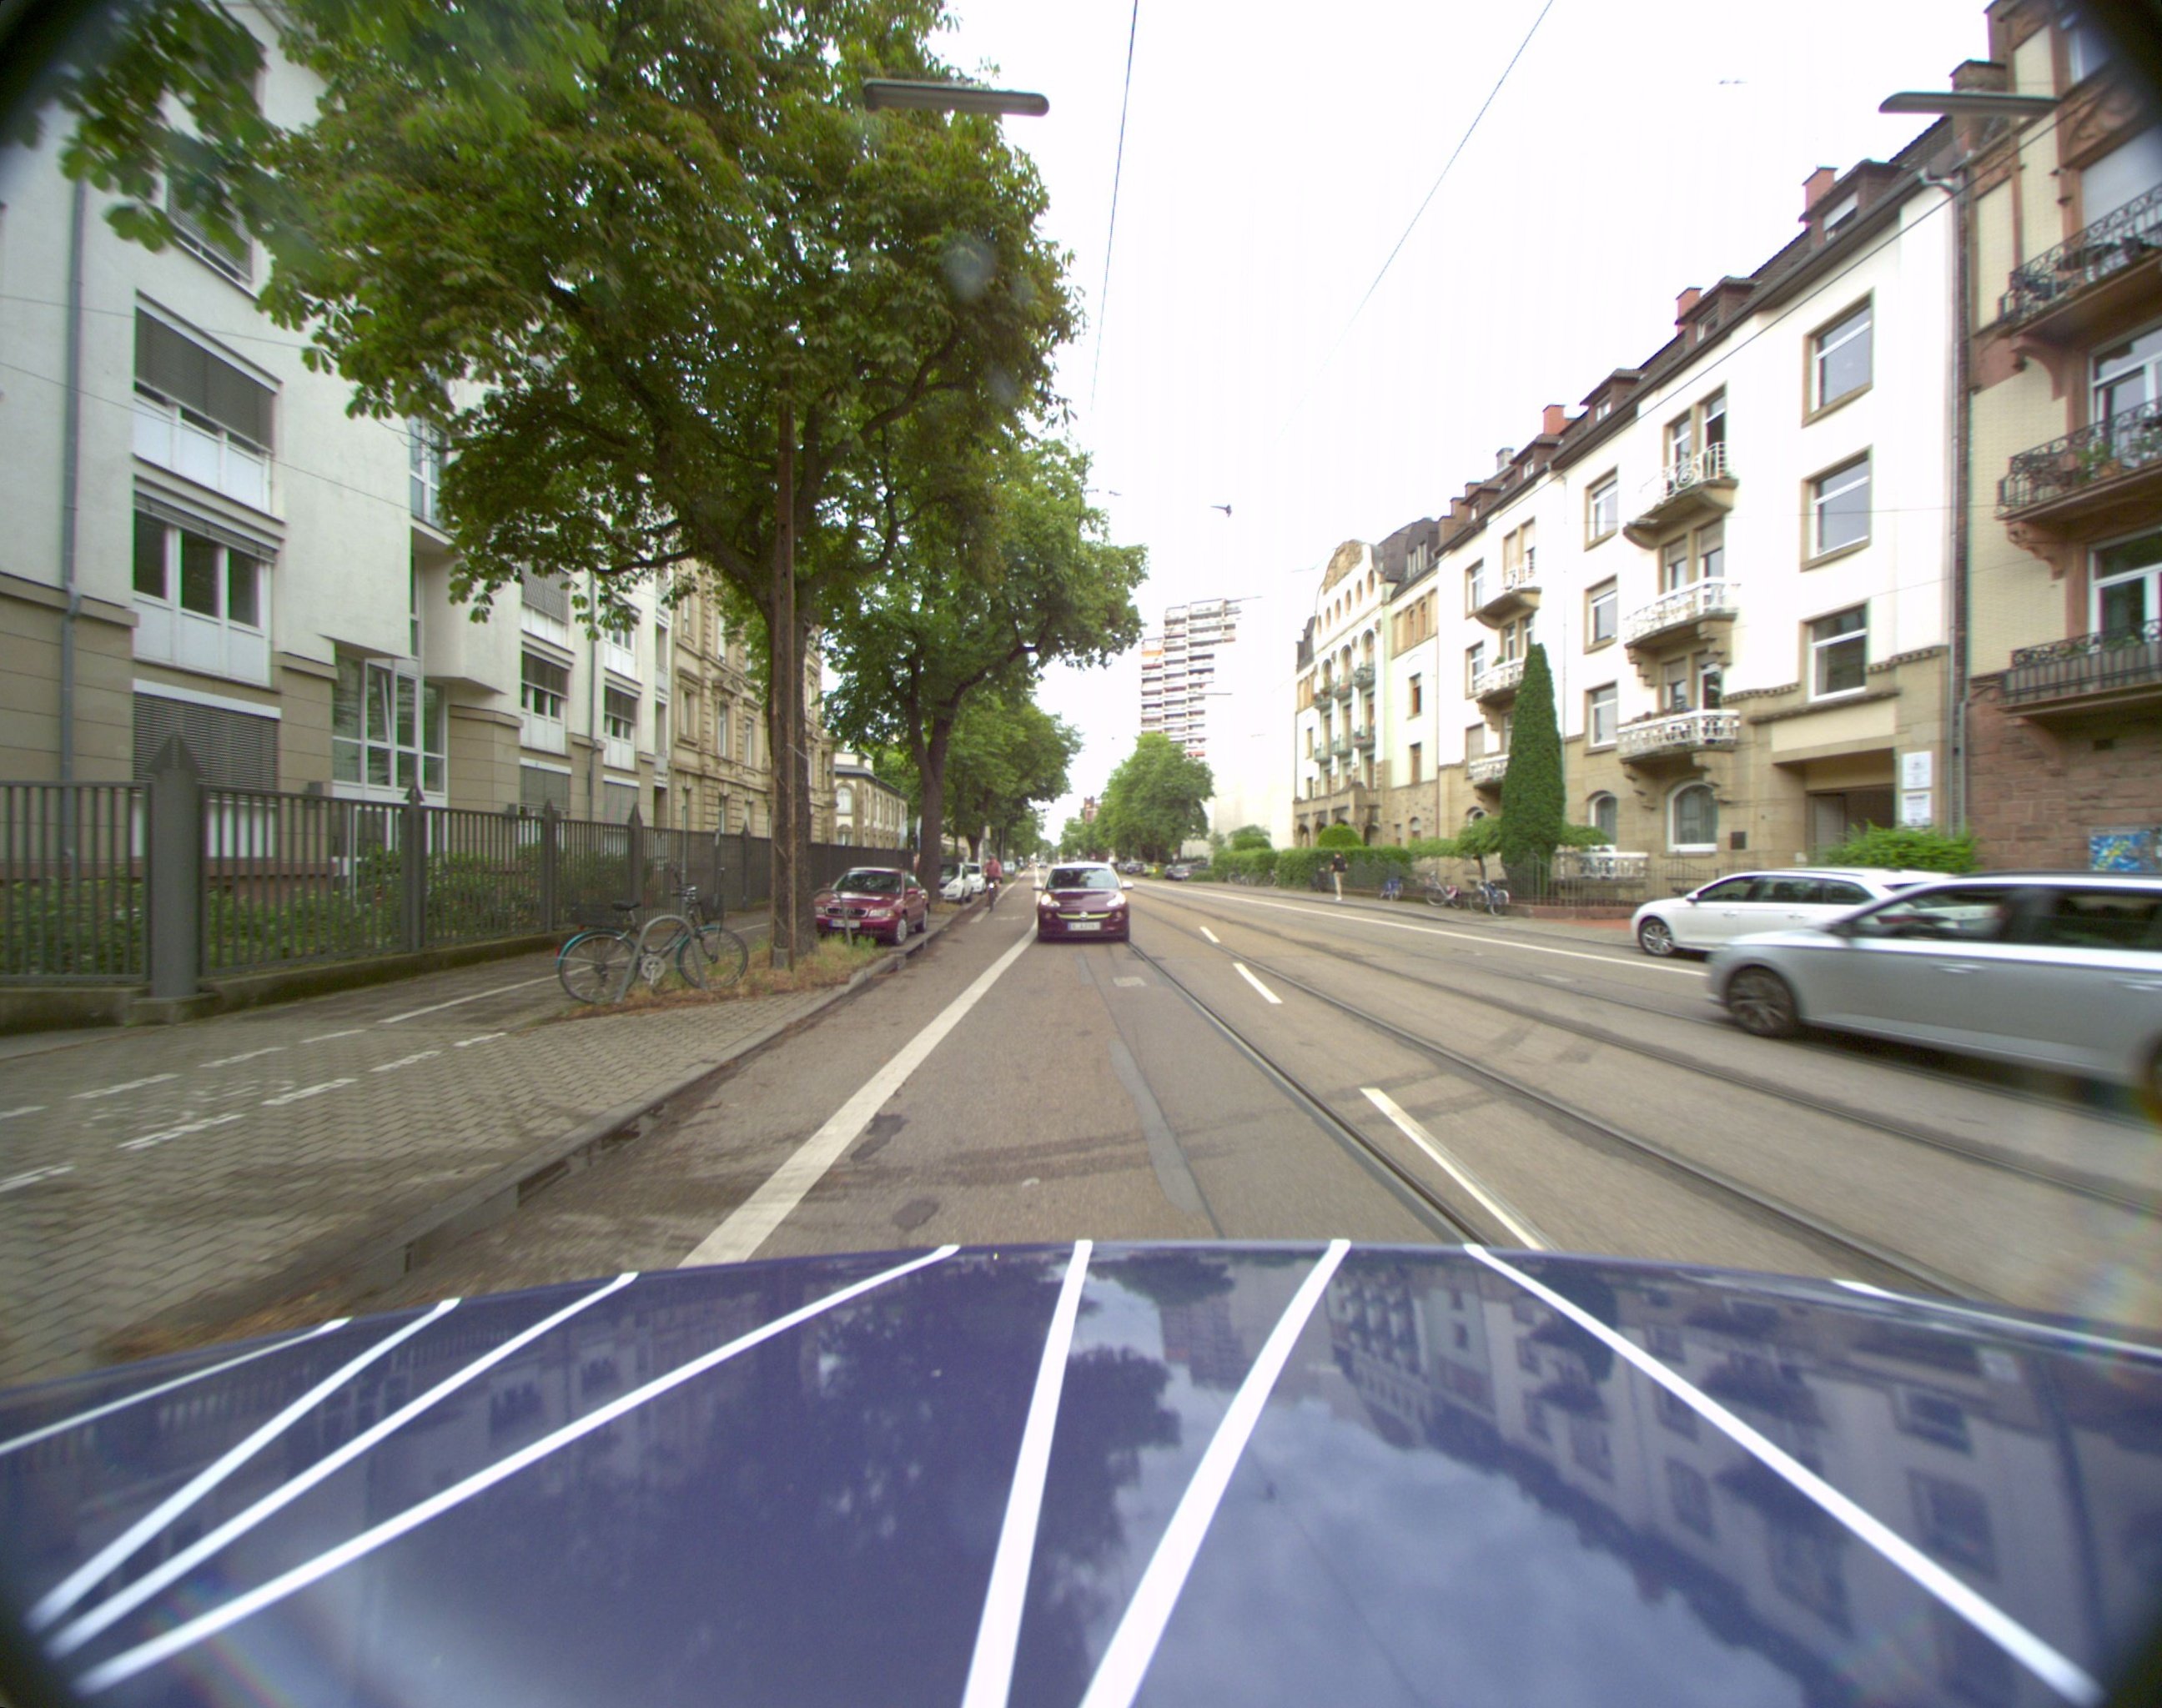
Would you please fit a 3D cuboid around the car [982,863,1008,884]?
[{"bbox_3d":[-6.091,1.339,54.130,1.606,1.362,3.836,2,0,-3],"label":"car"}]

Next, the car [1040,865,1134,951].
[{"bbox_3d":[0.039,0.967,15.150,1.606,1.427,3.776,-1,0,-2],"label":"car"}]

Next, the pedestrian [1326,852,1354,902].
[{"bbox_3d":[9.612,0.845,28.242,0.670,1.833,0.882,1,0,-4],"label":"pedestrian"}]

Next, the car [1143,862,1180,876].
[{"bbox_3d":[8.260,1.485,77.627,1.690,1.386,4.009,0,0,44],"label":"car"}]

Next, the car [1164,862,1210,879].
[{"bbox_3d":[8.963,1.356,64.309,4.009,1.394,1.690,1,0,-43],"label":"car"}]

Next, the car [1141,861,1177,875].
[{"bbox_3d":[8.319,1.470,80.684,1.690,1.434,4.009,0,0,44],"label":"car"}]

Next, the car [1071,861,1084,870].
[{"bbox_3d":[-0.499,1.774,116.521,1.613,1.414,3.484,1,0,-6],"label":"car"}]

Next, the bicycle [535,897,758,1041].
[{"bbox_3d":[-4.342,1.091,7.736,0.432,1.191,1.908,1,1,43],"label":"bicycle"}]

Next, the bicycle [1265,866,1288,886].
[{"bbox_3d":[11.069,1.241,43.004,1.206,1.077,0.300,-2,0,-1],"label":"bicycle"}]

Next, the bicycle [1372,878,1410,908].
[{"bbox_3d":[11.011,1.369,27.014,0.358,0.924,1.661,19,-1,0],"label":"bicycle"}]

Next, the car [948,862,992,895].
[{"bbox_3d":[-5.160,1.112,35.642,1.632,1.427,3.763,2,0,-3],"label":"car"}]

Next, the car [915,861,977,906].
[{"bbox_3d":[-4.757,1.000,27.260,1.606,1.427,3.776,2,0,-2],"label":"car"}]

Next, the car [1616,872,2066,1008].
[{"bbox_3d":[10.395,1.047,11.056,1.752,1.475,4.607,1,0,-4],"label":"car"}]

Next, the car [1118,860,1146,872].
[{"bbox_3d":[7.003,1.635,103.781,1.690,1.610,4.009,0,0,44],"label":"car"}]

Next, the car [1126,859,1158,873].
[{"bbox_3d":[7.246,1.377,90.362,1.690,1.610,4.009,0,0,44],"label":"car"}]

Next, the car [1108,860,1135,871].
[{"bbox_3d":[6.070,1.675,113.576,1.690,1.610,4.009,0,0,44],"label":"car"}]

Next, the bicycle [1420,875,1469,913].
[{"bbox_3d":[11.053,1.195,23.165,0.386,1.095,1.623,1,0,-14],"label":"bicycle"}]

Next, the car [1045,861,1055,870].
[{"bbox_3d":[-6.988,2.603,171.427,1.999,2.002,3.999,-1,0,0],"label":"car"}]

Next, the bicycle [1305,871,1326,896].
[{"bbox_3d":[10.522,1.313,34.133,0.360,1.077,1.546,1,0,-3],"label":"bicycle"}]

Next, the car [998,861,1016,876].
[{"bbox_3d":[-7.436,1.438,76.539,1.606,1.362,3.836,2,0,-3],"label":"car"}]

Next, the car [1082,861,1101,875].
[{"bbox_3d":[1.170,1.575,84.763,1.703,1.487,3.929,1,0,-5],"label":"car"}]

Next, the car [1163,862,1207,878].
[{"bbox_3d":[9.278,1.420,67.497,4.009,1.394,1.690,1,0,-43],"label":"car"}]

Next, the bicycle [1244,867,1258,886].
[{"bbox_3d":[9.938,1.280,44.416,0.360,1.077,1.546,1,0,-3],"label":"bicycle"}]

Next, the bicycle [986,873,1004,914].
[{"bbox_3d":[-2.700,1.230,23.957,0.414,1.197,1.706,0,0,-2],"label":"bicycle"}]

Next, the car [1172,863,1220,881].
[{"bbox_3d":[9.303,1.455,61.491,4.009,1.394,1.690,1,0,-43],"label":"car"}]

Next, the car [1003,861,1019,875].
[{"bbox_3d":[-7.709,1.494,83.876,1.606,1.416,3.836,2,0,-3],"label":"car"}]

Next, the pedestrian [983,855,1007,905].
[{"bbox_3d":[-2.691,0.813,23.785,0.684,1.541,0.704,0,0,-3],"label":"pedestrian"}]

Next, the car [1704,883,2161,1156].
[{"bbox_3d":[6.685,0.977,4.919,1.694,1.402,3.997,2,0,-8],"label":"car"}]

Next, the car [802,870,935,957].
[{"bbox_3d":[-4.075,1.076,15.227,1.606,1.390,4.226,2,0,-3],"label":"car"}]

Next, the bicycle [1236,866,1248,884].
[{"bbox_3d":[9.817,1.288,46.341,0.360,1.077,1.546,1,0,-3],"label":"bicycle"}]

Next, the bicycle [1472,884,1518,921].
[{"bbox_3d":[11.261,1.299,20.716,0.333,0.932,1.515,1,0,-3],"label":"bicycle"}]
